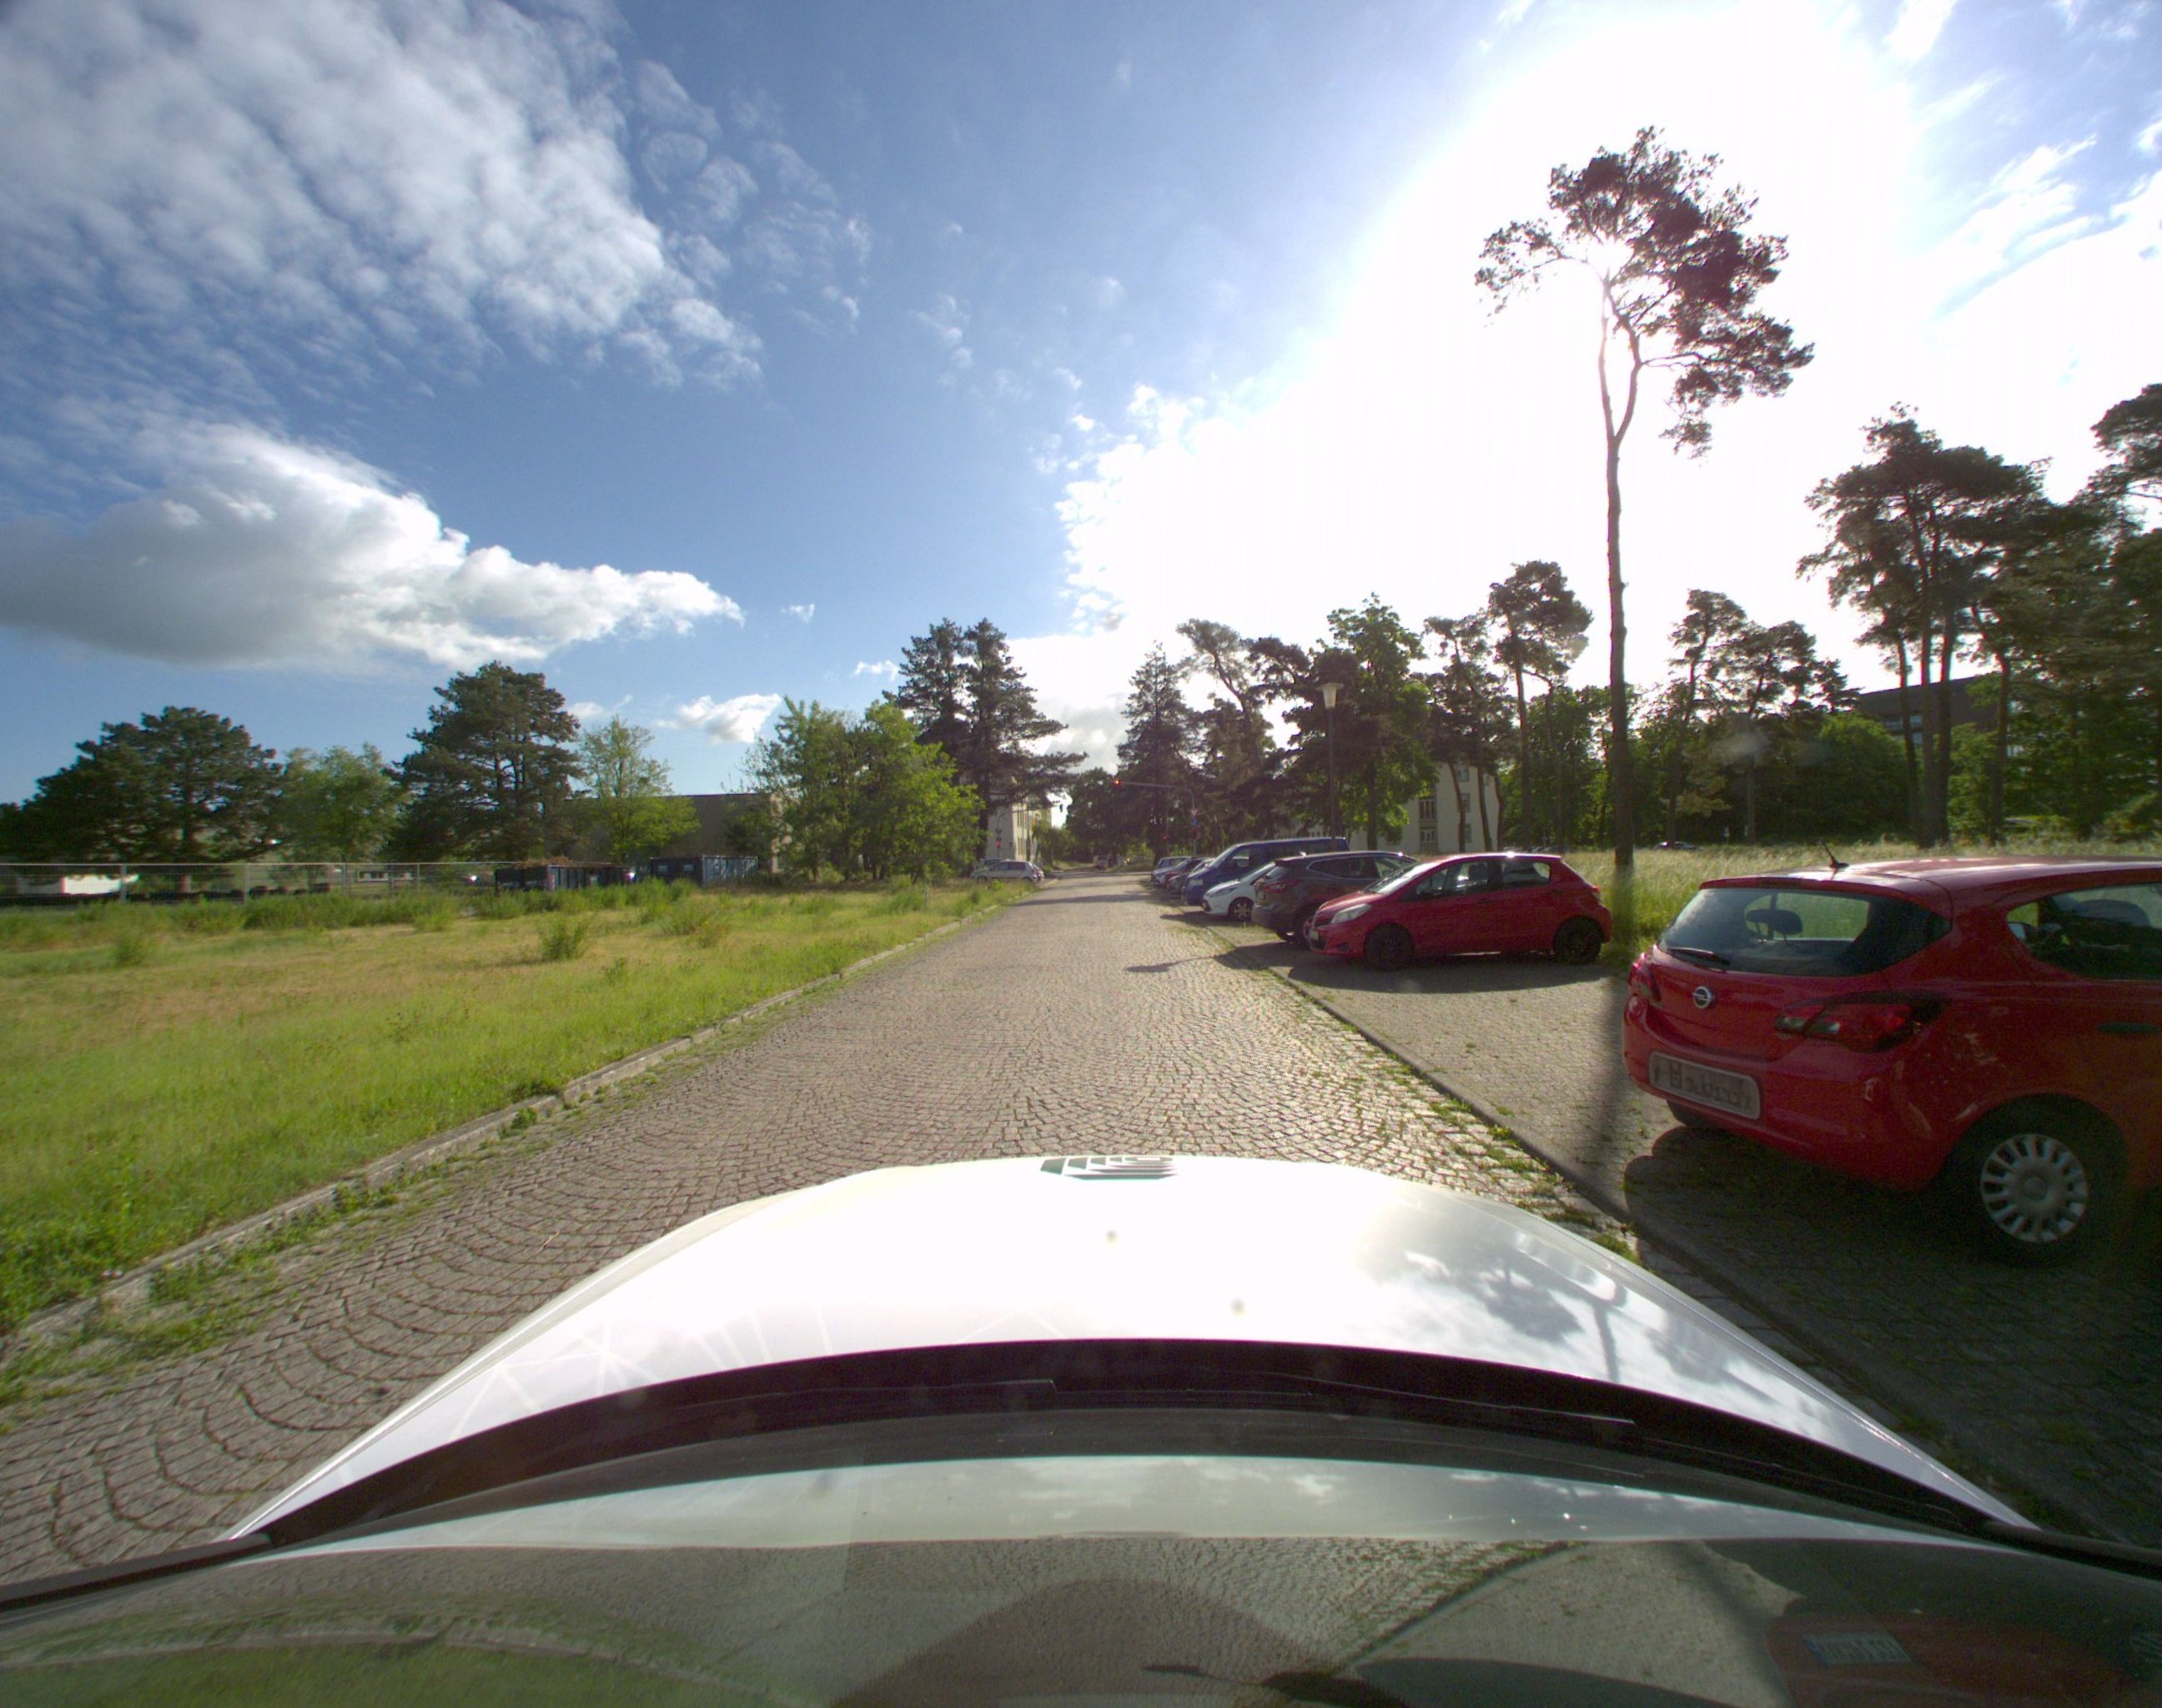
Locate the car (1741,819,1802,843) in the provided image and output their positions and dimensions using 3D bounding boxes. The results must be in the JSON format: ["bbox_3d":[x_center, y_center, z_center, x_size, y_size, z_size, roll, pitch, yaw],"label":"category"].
[{"bbox_3d":[64.321,-2.137,75.910,3.972,2.013,2.001,-2,0,1],"label":"car"}]

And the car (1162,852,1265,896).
[{"bbox_3d":[5.034,0.763,31.255,3.663,1.467,1.645,-3,0,0],"label":"car"}]

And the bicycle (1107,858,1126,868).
[{"bbox_3d":[4.177,1.098,95.853,2.172,1.100,0.804,-1,0,-9],"label":"bicycle"}]

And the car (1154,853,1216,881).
[{"bbox_3d":[5.948,0.749,46.809,3.333,1.483,1.645,-2,0,0],"label":"car"}]

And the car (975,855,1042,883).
[{"bbox_3d":[-4.562,0.917,51.602,3.973,1.601,2.000,2,0,1],"label":"car"}]

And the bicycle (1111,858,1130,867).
[{"bbox_3d":[4.663,1.013,97.015,2.172,1.100,0.804,-1,0,-9],"label":"bicycle"}]

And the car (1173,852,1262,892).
[{"bbox_3d":[5.678,0.722,34.165,3.467,1.529,1.645,-2,0,0],"label":"car"}]

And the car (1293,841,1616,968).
[{"bbox_3d":[5.069,0.656,11.410,3.750,1.530,1.645,-2,0,0],"label":"car"}]

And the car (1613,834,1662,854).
[{"bbox_3d":[60.300,-1.122,88.263,3.972,2.013,2.001,-2,0,1],"label":"car"}]

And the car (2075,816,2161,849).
[{"bbox_3d":[68.810,-1.417,53.737,3.972,2.013,2.001,-2,0,1],"label":"car"}]

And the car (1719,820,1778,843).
[{"bbox_3d":[64.284,-2.168,78.452,3.972,2.013,2.001,-2,0,1],"label":"car"}]

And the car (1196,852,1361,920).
[{"bbox_3d":[4.895,0.764,20.509,3.708,1.488,1.645,-2,0,-1],"label":"car"}]

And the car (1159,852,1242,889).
[{"bbox_3d":[5.371,0.737,36.863,3.467,1.529,1.645,-2,0,0],"label":"car"}]

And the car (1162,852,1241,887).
[{"bbox_3d":[5.779,0.732,39.318,3.591,1.529,1.645,-2,0,0],"label":"car"}]

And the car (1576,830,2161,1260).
[{"bbox_3d":[4.736,0.666,3.800,3.814,1.478,1.646,-3,0,1],"label":"car"}]

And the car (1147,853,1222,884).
[{"bbox_3d":[5.575,0.776,44.174,3.823,1.529,1.645,-2,0,0],"label":"car"}]

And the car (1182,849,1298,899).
[{"bbox_3d":[5.469,0.693,28.359,3.680,1.465,1.646,-4,0,2],"label":"car"}]

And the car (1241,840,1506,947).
[{"bbox_3d":[4.923,0.636,14.088,3.923,1.621,1.772,-2,0,0],"label":"car"}]

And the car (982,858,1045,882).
[{"bbox_3d":[-4.424,1.022,54.001,3.973,1.453,2.000,1,0,1],"label":"car"}]

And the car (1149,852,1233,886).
[{"bbox_3d":[5.551,0.745,41.402,4.024,1.529,1.644,-2,0,-3],"label":"car"}]

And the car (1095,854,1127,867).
[{"bbox_3d":[4.145,0.893,113.334,4.465,1.728,2.000,-1,0,0],"label":"car"}]

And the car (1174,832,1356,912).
[{"bbox_3d":[5.127,0.488,23.187,4.664,2.013,2.082,-2,0,-2],"label":"car"}]

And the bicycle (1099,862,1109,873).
[{"bbox_3d":[2.596,1.498,92.414,0.803,1.169,2.177,-3,0,-4],"label":"bicycle"}]

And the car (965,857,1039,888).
[{"bbox_3d":[-4.424,1.041,46.207,3.976,1.600,1.999,-2,0,-2],"label":"car"}]
